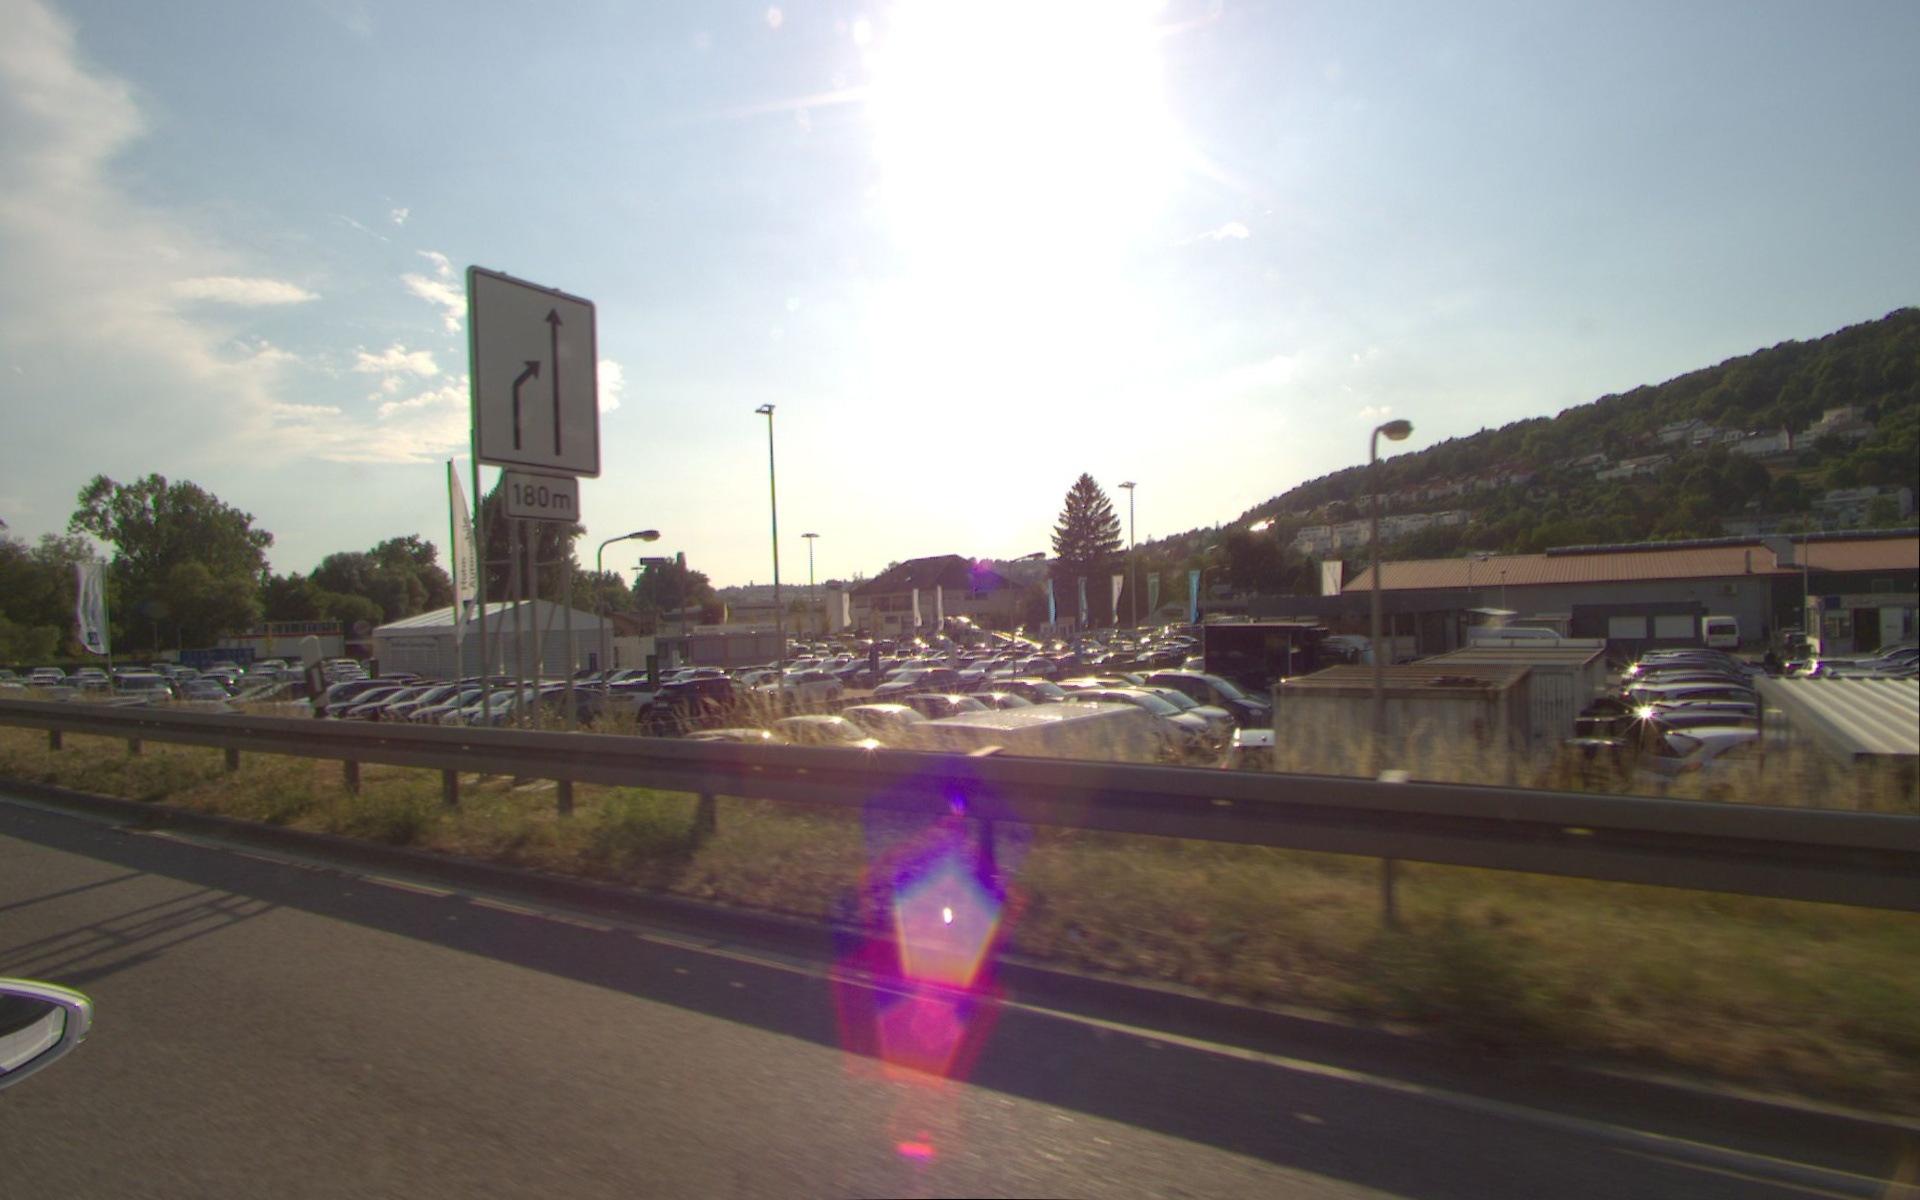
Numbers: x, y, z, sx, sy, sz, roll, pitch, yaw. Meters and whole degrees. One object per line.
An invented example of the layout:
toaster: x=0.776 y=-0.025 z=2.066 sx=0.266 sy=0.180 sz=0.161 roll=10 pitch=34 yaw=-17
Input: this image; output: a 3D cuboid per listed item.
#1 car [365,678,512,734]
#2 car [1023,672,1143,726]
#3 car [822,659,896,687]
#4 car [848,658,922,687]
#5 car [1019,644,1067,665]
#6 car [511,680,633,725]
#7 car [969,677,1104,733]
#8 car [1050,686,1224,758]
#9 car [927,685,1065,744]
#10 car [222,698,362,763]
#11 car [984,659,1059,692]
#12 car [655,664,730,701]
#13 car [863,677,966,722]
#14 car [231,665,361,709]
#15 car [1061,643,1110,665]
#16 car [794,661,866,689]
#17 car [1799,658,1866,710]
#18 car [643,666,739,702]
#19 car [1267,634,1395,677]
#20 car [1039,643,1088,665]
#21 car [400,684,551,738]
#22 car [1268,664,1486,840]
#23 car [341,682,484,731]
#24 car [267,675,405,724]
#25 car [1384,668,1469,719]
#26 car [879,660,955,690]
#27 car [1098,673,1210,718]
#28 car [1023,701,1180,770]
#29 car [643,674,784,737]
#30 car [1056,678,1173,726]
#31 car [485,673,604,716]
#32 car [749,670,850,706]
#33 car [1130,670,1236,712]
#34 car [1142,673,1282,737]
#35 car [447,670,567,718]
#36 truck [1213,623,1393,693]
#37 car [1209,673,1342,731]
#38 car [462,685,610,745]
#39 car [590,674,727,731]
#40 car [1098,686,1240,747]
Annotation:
car: x=-18.754 y=3.755 z=36.154 sx=1.779 sy=1.735 sz=4.402 roll=-2 pitch=-3 yaw=38
car: x=4.218 y=3.381 z=34.667 sx=3.842 sy=1.722 sz=1.592 roll=-3 pitch=-3 yaw=37
car: x=-6.038 y=4.359 z=60.245 sx=1.782 sy=1.563 sz=4.309 roll=-3 pitch=-3 yaw=42
car: x=-4.348 y=4.236 z=58.630 sx=1.782 sy=1.563 sz=4.309 roll=-3 pitch=-3 yaw=42
car: x=7.306 y=4.752 z=87.847 sx=3.958 sy=1.739 sz=1.983 roll=1 pitch=-2 yaw=-41
car: x=-15.778 y=4.124 z=40.903 sx=1.779 sy=1.562 sz=4.402 roll=-2 pitch=-3 yaw=38
car: x=2.446 y=3.353 z=32.591 sx=4.232 sy=1.614 sz=1.592 roll=-3 pitch=-3 yaw=37
car: x=4.944 y=3.360 z=28.230 sx=4.441 sy=1.722 sz=1.959 roll=-3 pitch=-3 yaw=37
car: x=1.078 y=3.526 z=31.314 sx=4.189 sy=1.614 sz=1.592 roll=-3 pitch=-3 yaw=37
car: x=-19.275 y=3.697 z=28.847 sx=4.371 sy=1.563 sz=1.792 roll=-2 pitch=-3 yaw=33
car: x=3.254 y=3.929 z=52.386 sx=1.779 sy=1.562 sz=4.315 roll=-2 pitch=-3 yaw=38
car: x=-15.545 y=4.794 z=58.332 sx=1.763 sy=1.980 sz=3.967 roll=-3 pitch=-3 yaw=42
car: x=-1.796 y=4.018 z=41.057 sx=1.779 sy=1.562 sz=4.402 roll=-2 pitch=-3 yaw=38
car: x=-28.903 y=3.752 z=43.675 sx=1.778 sy=1.628 sz=4.402 roll=0 pitch=-2 yaw=38
car: x=10.494 y=4.498 z=83.775 sx=3.958 sy=1.739 sz=1.983 roll=1 pitch=-2 yaw=-41
car: x=-8.046 y=4.618 z=62.234 sx=1.782 sy=1.563 sz=4.309 roll=-3 pitch=-3 yaw=42
car: x=31.673 y=3.008 z=36.423 sx=1.627 sy=1.689 sz=3.622 roll=-2 pitch=-3 yaw=39
car: x=-13.305 y=4.131 z=49.734 sx=1.779 sy=1.562 sz=4.402 roll=-2 pitch=-3 yaw=38
car: x=14.287 y=2.138 z=38.637 sx=4.290 sy=1.563 sz=1.790 roll=-3 pitch=-3 yaw=36
car: x=8.903 y=4.632 z=86.020 sx=3.958 sy=1.739 sz=1.983 roll=1 pitch=-2 yaw=-41
car: x=-16.714 y=3.790 z=34.739 sx=1.779 sy=1.562 sz=4.402 roll=-2 pitch=-3 yaw=38
car: x=5.450 y=1.750 z=12.796 sx=1.875 sy=1.772 sz=3.980 roll=-2 pitch=-3 yaw=33
car: x=-20.626 y=3.975 z=37.879 sx=1.779 sy=1.562 sz=4.402 roll=-2 pitch=-3 yaw=38
car: x=-25.107 y=3.959 z=40.437 sx=1.819 sy=1.687 sz=4.402 roll=-2 pitch=-3 yaw=38
car: x=16.509 y=3.226 z=35.317 sx=1.779 sy=1.562 sz=4.316 roll=-2 pitch=-3 yaw=38
car: x=-2.416 y=4.200 z=56.639 sx=1.782 sy=1.563 sz=4.309 roll=-3 pitch=-3 yaw=42
car: x=7.434 y=3.638 z=38.493 sx=3.842 sy=1.563 sz=1.789 roll=-3 pitch=-3 yaw=37
car: x=3.678 y=3.495 z=26.323 sx=3.818 sy=1.530 sz=1.592 roll=-3 pitch=-3 yaw=37
car: x=-8.139 y=3.431 z=33.379 sx=1.779 sy=1.736 sz=4.401 roll=-2 pitch=-2 yaw=38
car: x=5.594 y=3.681 z=36.501 sx=3.842 sy=1.563 sz=1.789 roll=-3 pitch=-3 yaw=37
car: x=-17.574 y=3.955 z=42.517 sx=1.779 sy=1.562 sz=4.402 roll=-2 pitch=-3 yaw=38
car: x=-7.090 y=3.876 z=44.537 sx=1.779 sy=1.386 sz=4.402 roll=-3 pitch=-3 yaw=38
car: x=8.913 y=3.616 z=40.108 sx=3.842 sy=1.563 sz=1.592 roll=-3 pitch=-3 yaw=37
car: x=7.917 y=3.258 z=31.571 sx=3.970 sy=1.824 sz=1.592 roll=-3 pitch=-3 yaw=37
car: x=-19.725 y=4.081 z=43.723 sx=1.781 sy=1.723 sz=4.401 roll=-7 pitch=-5 yaw=38
truck: x=12.457 y=2.115 z=36.599 sx=5.890 sy=2.400 sz=1.989 roll=-2 pitch=-3 yaw=35
car: x=10.337 y=3.304 z=32.900 sx=3.842 sy=1.722 sz=1.592 roll=-3 pitch=-3 yaw=37
car: x=-13.213 y=3.541 z=31.380 sx=1.764 sy=1.562 sz=3.963 roll=-2 pitch=-3 yaw=35
car: x=-10.576 y=3.547 z=35.382 sx=1.779 sy=1.735 sz=4.402 roll=-2 pitch=-3 yaw=38
car: x=6.195 y=3.419 z=29.860 sx=3.842 sy=1.583 sz=1.592 roll=-3 pitch=-3 yaw=37
